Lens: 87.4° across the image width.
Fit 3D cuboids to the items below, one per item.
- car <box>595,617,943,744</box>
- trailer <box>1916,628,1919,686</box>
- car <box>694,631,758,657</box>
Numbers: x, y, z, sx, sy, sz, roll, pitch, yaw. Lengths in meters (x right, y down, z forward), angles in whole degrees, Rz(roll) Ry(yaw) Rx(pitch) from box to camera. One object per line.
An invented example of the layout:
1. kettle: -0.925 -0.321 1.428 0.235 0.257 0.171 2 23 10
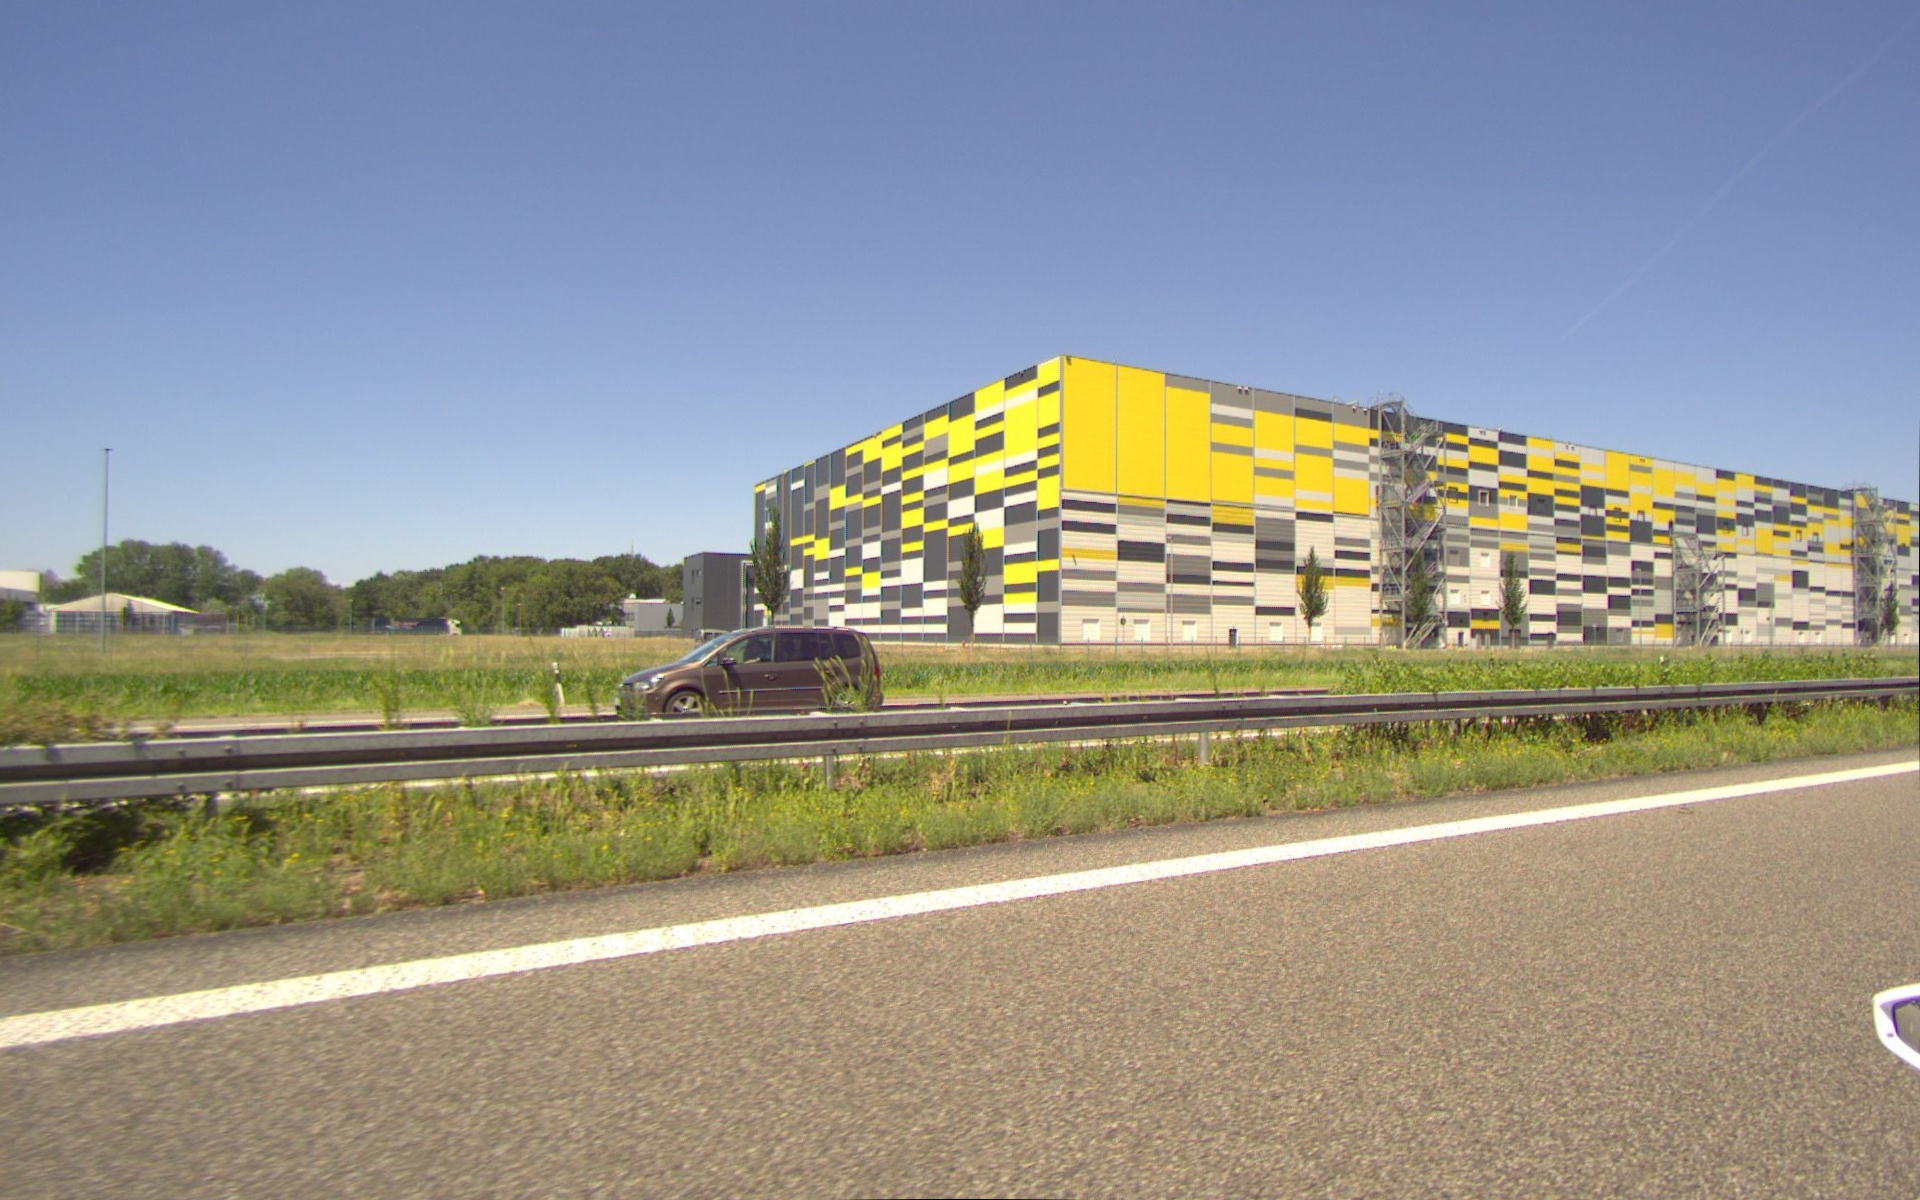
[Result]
1. car: -3.149 1.255 16.806 5.285 1.839 2.307 1 -2 -29
2. trailer: 33.080 1.839 32.387 5.177 1.813 1.935 1 -2 -31
3. car: -16.404 3.100 70.419 4.065 1.750 1.676 2 -2 -31
